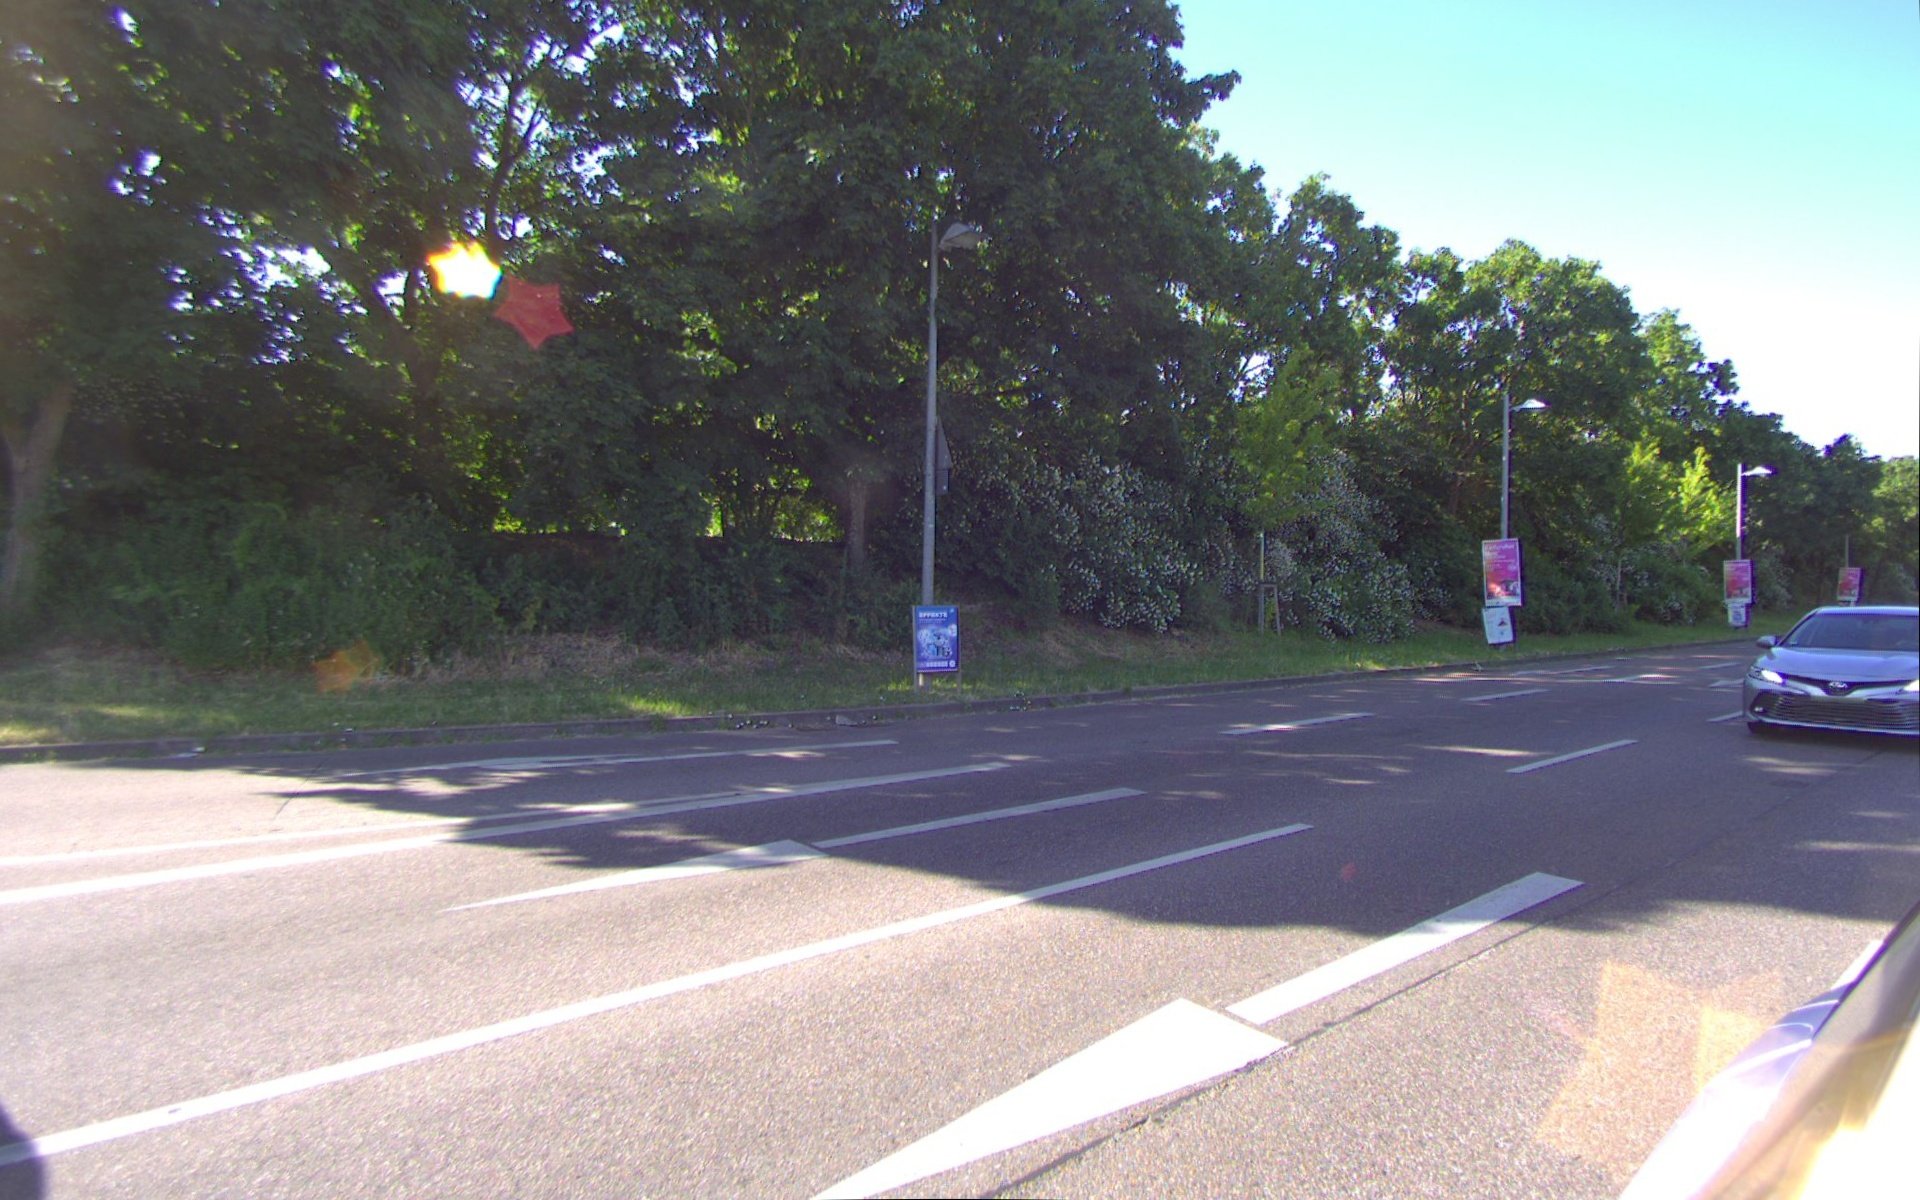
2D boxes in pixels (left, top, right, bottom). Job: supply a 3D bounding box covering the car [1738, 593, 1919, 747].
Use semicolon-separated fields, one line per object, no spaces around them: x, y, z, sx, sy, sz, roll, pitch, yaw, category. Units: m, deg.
10.711;0.676;11.607;4.512;1.454;1.875;0;1;-40;car
